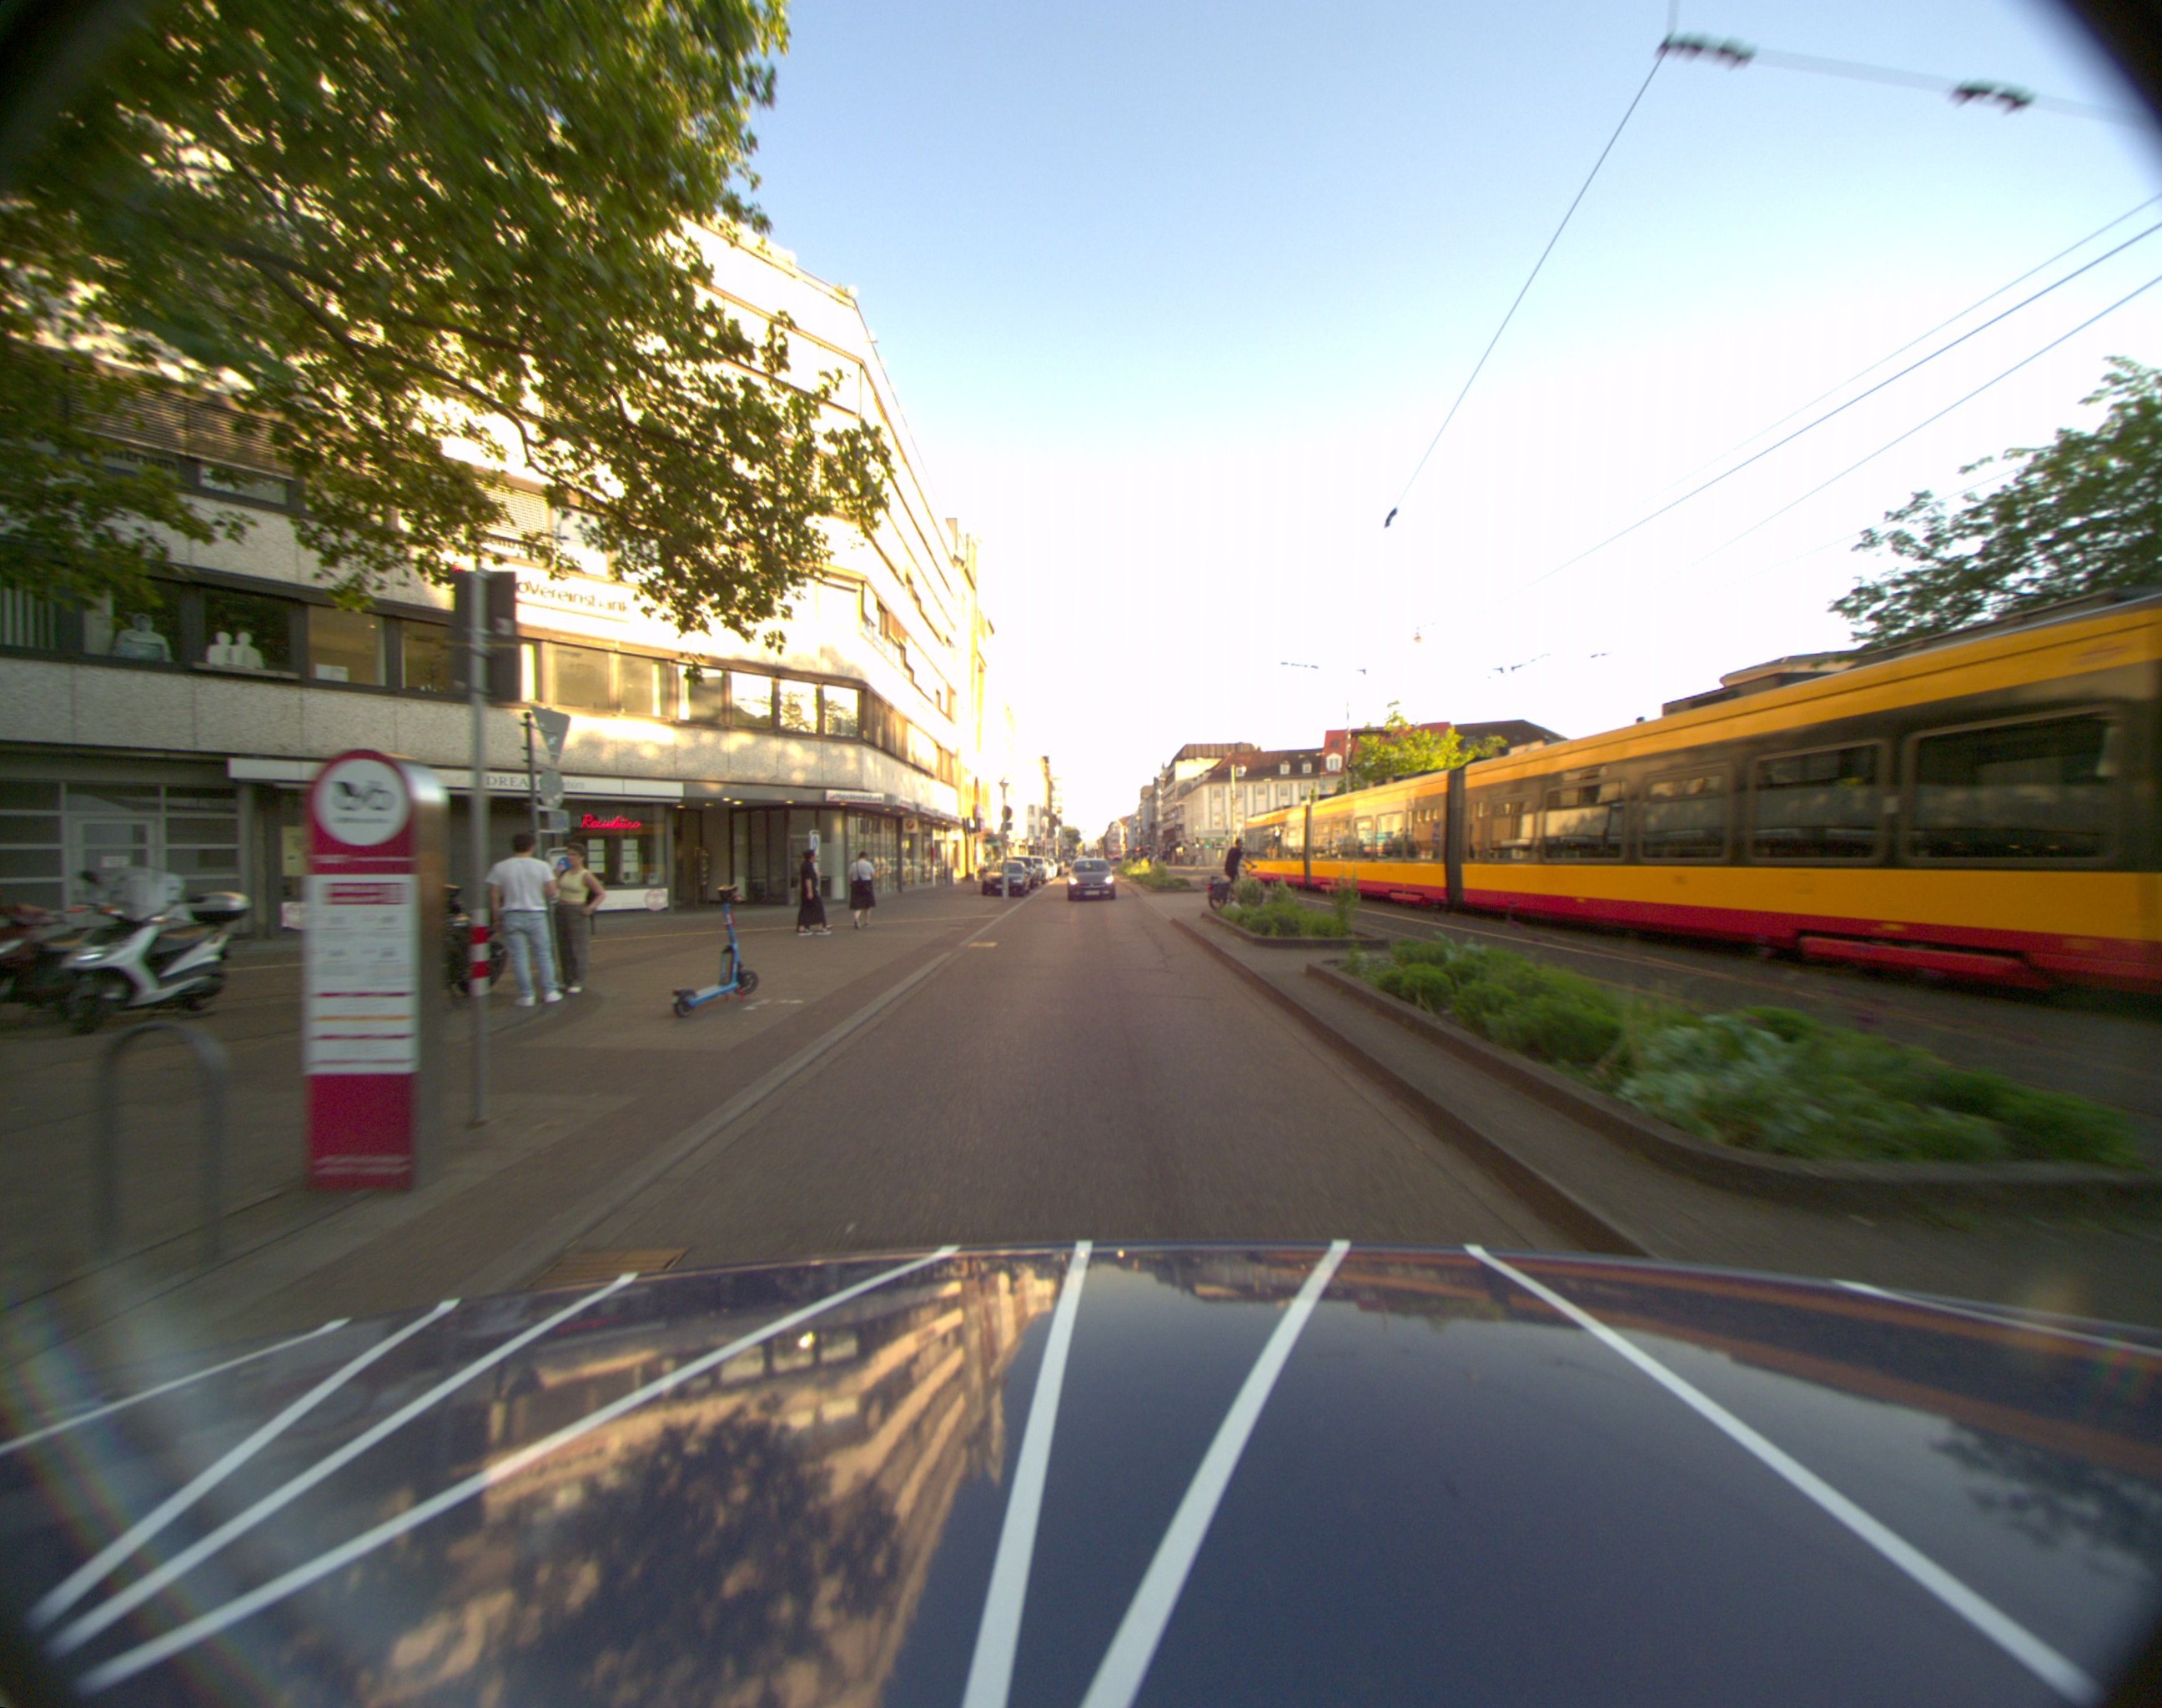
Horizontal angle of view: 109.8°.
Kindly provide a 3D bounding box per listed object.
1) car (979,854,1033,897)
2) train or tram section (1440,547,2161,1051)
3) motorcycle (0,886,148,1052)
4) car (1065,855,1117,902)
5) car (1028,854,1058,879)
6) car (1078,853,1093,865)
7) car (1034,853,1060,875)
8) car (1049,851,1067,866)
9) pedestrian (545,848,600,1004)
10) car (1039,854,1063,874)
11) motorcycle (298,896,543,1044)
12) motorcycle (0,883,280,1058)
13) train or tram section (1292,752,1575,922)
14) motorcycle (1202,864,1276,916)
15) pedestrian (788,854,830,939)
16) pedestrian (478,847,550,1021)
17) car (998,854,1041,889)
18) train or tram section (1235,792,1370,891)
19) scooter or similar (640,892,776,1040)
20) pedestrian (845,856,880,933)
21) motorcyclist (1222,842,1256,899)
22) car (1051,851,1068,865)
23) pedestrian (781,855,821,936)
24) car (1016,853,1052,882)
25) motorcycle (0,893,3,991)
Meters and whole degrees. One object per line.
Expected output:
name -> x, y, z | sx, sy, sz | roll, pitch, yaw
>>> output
car -> -3.039, 0.828, 31.432 | 1.771, 1.565, 3.999 | 1, 1, 1
train or tram section -> 9.342, -0.413, 10.001 | 2.902, 3.664, 13.481 | -1, 0, 0
motorcycle -> -9.892, 1.010, 7.136 | 0.707, 1.397, 1.964 | 0, -3, -29
car -> 0.370, 0.831, 27.881 | 1.738, 1.495, 3.999 | -2, 1, 1
car -> -2.548, 0.814, 51.348 | 1.771, 1.565, 3.999 | 1, 1, 1
car -> 0.606, 0.723, 102.490 | 1.810, 1.474, 4.283 | -3, 0, 0
car -> -2.592, 0.734, 59.004 | 1.771, 1.565, 3.999 | 1, 1, 1
car -> -2.510, 0.500, 83.537 | 1.771, 1.565, 3.999 | 1, 1, 1
pedestrian -> -5.791, 0.803, 8.669 | 0.432, 1.726, 0.409 | 0, 0, -18
car -> -2.472, 0.783, 63.763 | 1.771, 1.565, 3.999 | 1, 1, 1
motorcycle -> -6.450, 1.062, 7.600 | 0.705, 1.179, 1.968 | 0, 0, 1
motorcycle -> -8.705, 0.984, 7.165 | 0.707, 1.397, 1.966 | 0, -2, -18
train or tram section -> 9.405, -0.348, 22.681 | 2.902, 3.664, 11.983 | -1, 0, 0
motorcycle -> 4.043, 0.912, 19.547 | 1.777, 1.230, 0.807 | -2, 1, 9
pedestrian -> -5.323, 0.810, 14.892 | 0.638, 1.616, 0.519 | -1, 2, -10
pedestrian -> -5.760, 0.796, 7.735 | 0.431, 1.726, 0.409 | 0, 0, -4
car -> -3.024, 0.828, 38.152 | 1.771, 1.565, 3.999 | 1, 1, 1
train or tram section -> 9.473, -0.453, 34.080 | 2.902, 3.664, 10.785 | -1, 0, 0
scooter or similar -> -3.679, 1.051, 7.644 | 0.534, 1.225, 1.656 | 1, 1, 0
pedestrian -> -4.753, 0.865, 16.567 | 0.638, 1.616, 0.519 | -1, 2, -10
motorcyclist -> 4.053, 0.414, 19.543 | 0.799, 1.431, 0.800 | -2, 1, 9
car -> -2.500, 0.429, 88.284 | 1.771, 1.565, 3.999 | 1, 1, 1
pedestrian -> -5.761, 0.846, 15.639 | 0.638, 1.616, 0.519 | -1, 2, -10
car -> -2.758, 0.773, 45.326 | 1.771, 1.565, 3.999 | 1, 1, 1
motorcycle -> -10.603, 1.044, 6.542 | 0.707, 1.397, 1.964 | 0, -3, -29
